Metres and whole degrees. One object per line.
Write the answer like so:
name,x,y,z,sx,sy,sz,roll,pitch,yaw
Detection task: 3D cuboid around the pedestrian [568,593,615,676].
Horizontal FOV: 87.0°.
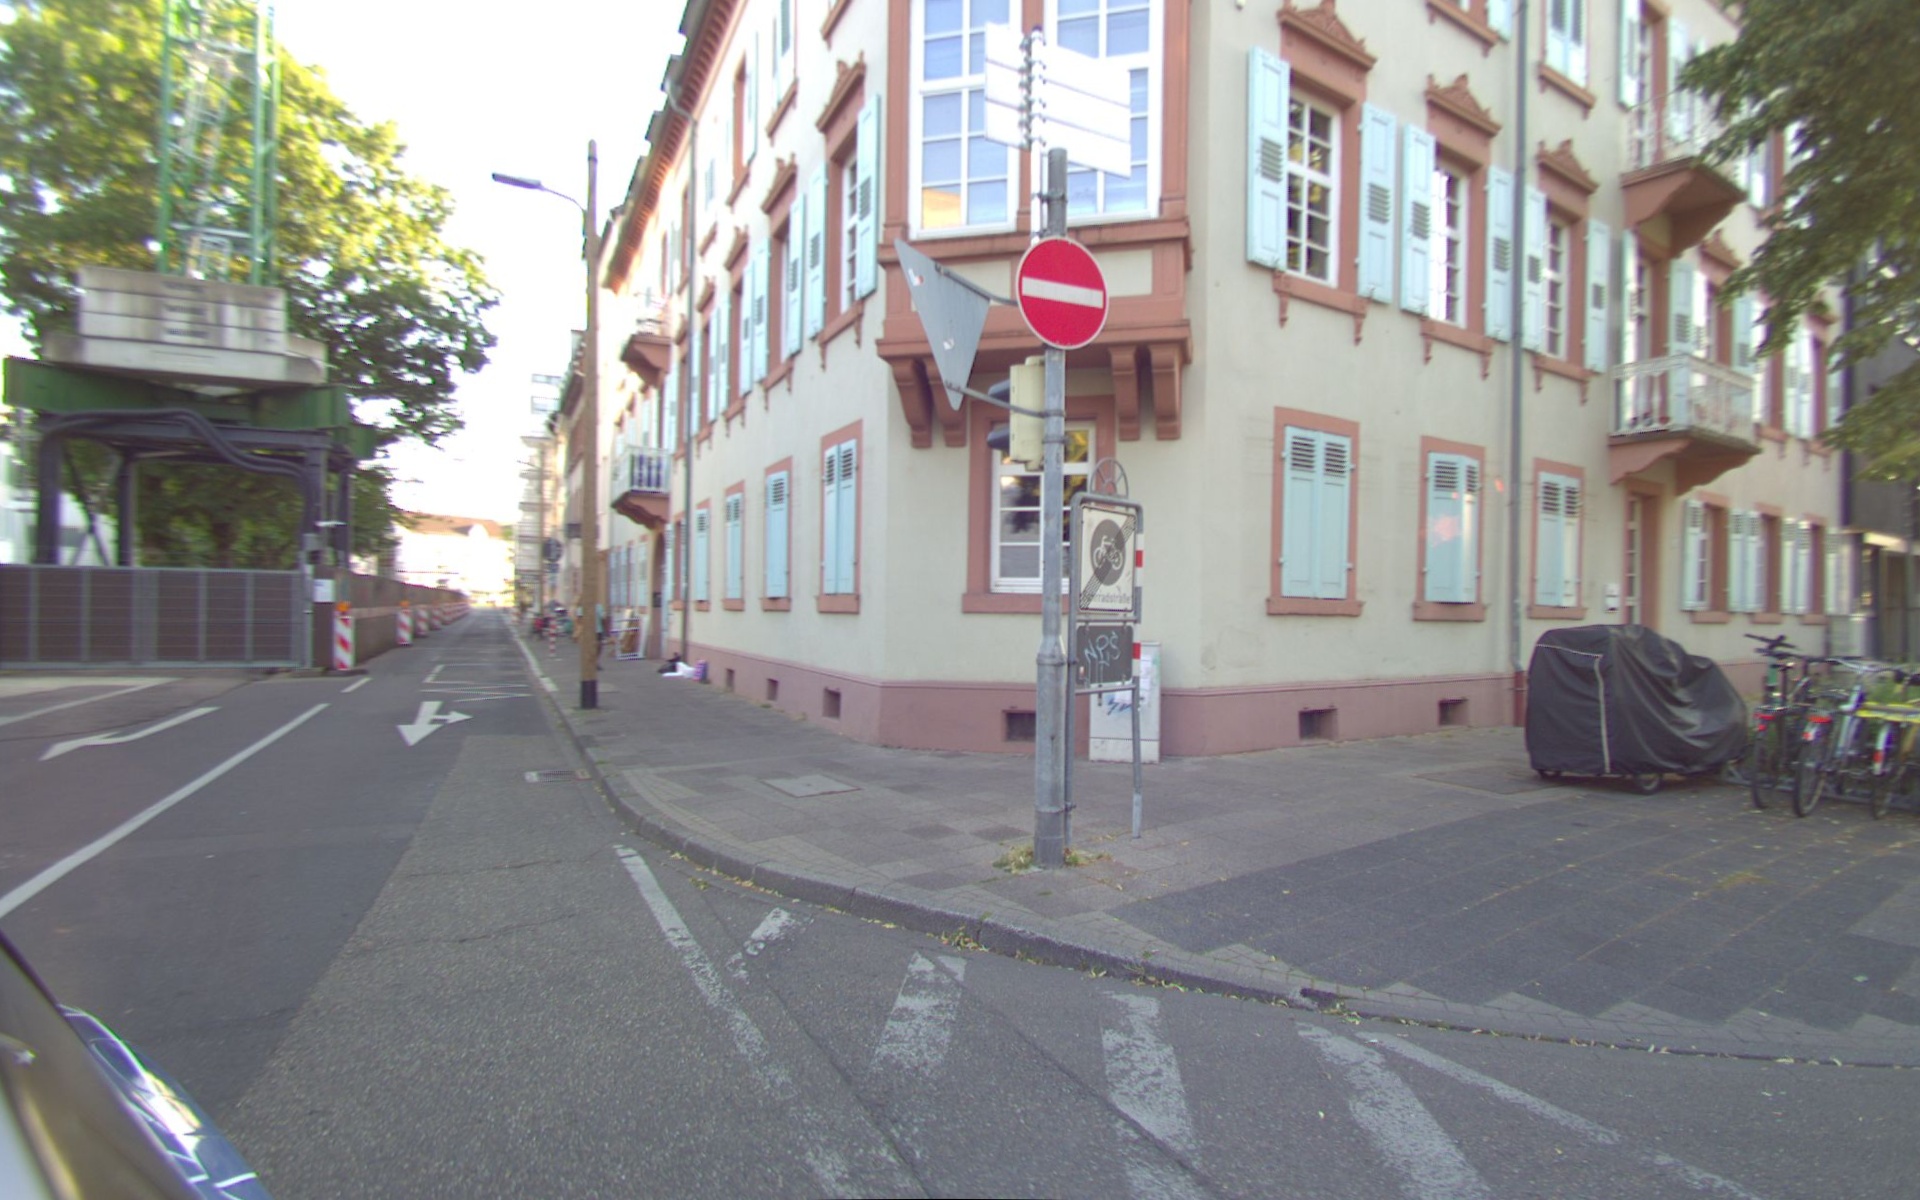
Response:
pedestrian,-7.827,0.718,21.485,0.812,1.709,0.651,-2,0,-27

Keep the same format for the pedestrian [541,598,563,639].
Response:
pedestrian,-17.114,0.784,42.438,0.812,1.709,0.651,0,-1,-27

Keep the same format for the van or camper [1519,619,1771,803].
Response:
van or camper,5.448,0.816,8.037,1.813,1.269,0.947,1,0,-31

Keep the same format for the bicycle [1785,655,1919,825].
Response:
bicycle,6.375,0.949,7.190,1.569,1.090,0.324,2,-1,-33

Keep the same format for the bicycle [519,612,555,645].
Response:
bicycle,-15.715,1.040,37.632,0.651,1.179,1.608,0,-1,0

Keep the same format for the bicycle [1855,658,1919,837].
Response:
bicycle,6.586,0.954,6.878,1.569,1.090,0.342,1,-1,-33

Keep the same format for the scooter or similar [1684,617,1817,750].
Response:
scooter or similar,7.930,0.796,10.145,1.371,1.231,0.680,1,-1,-35

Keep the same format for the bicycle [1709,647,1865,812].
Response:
bicycle,6.165,0.915,7.521,1.569,1.090,0.398,1,1,-33
